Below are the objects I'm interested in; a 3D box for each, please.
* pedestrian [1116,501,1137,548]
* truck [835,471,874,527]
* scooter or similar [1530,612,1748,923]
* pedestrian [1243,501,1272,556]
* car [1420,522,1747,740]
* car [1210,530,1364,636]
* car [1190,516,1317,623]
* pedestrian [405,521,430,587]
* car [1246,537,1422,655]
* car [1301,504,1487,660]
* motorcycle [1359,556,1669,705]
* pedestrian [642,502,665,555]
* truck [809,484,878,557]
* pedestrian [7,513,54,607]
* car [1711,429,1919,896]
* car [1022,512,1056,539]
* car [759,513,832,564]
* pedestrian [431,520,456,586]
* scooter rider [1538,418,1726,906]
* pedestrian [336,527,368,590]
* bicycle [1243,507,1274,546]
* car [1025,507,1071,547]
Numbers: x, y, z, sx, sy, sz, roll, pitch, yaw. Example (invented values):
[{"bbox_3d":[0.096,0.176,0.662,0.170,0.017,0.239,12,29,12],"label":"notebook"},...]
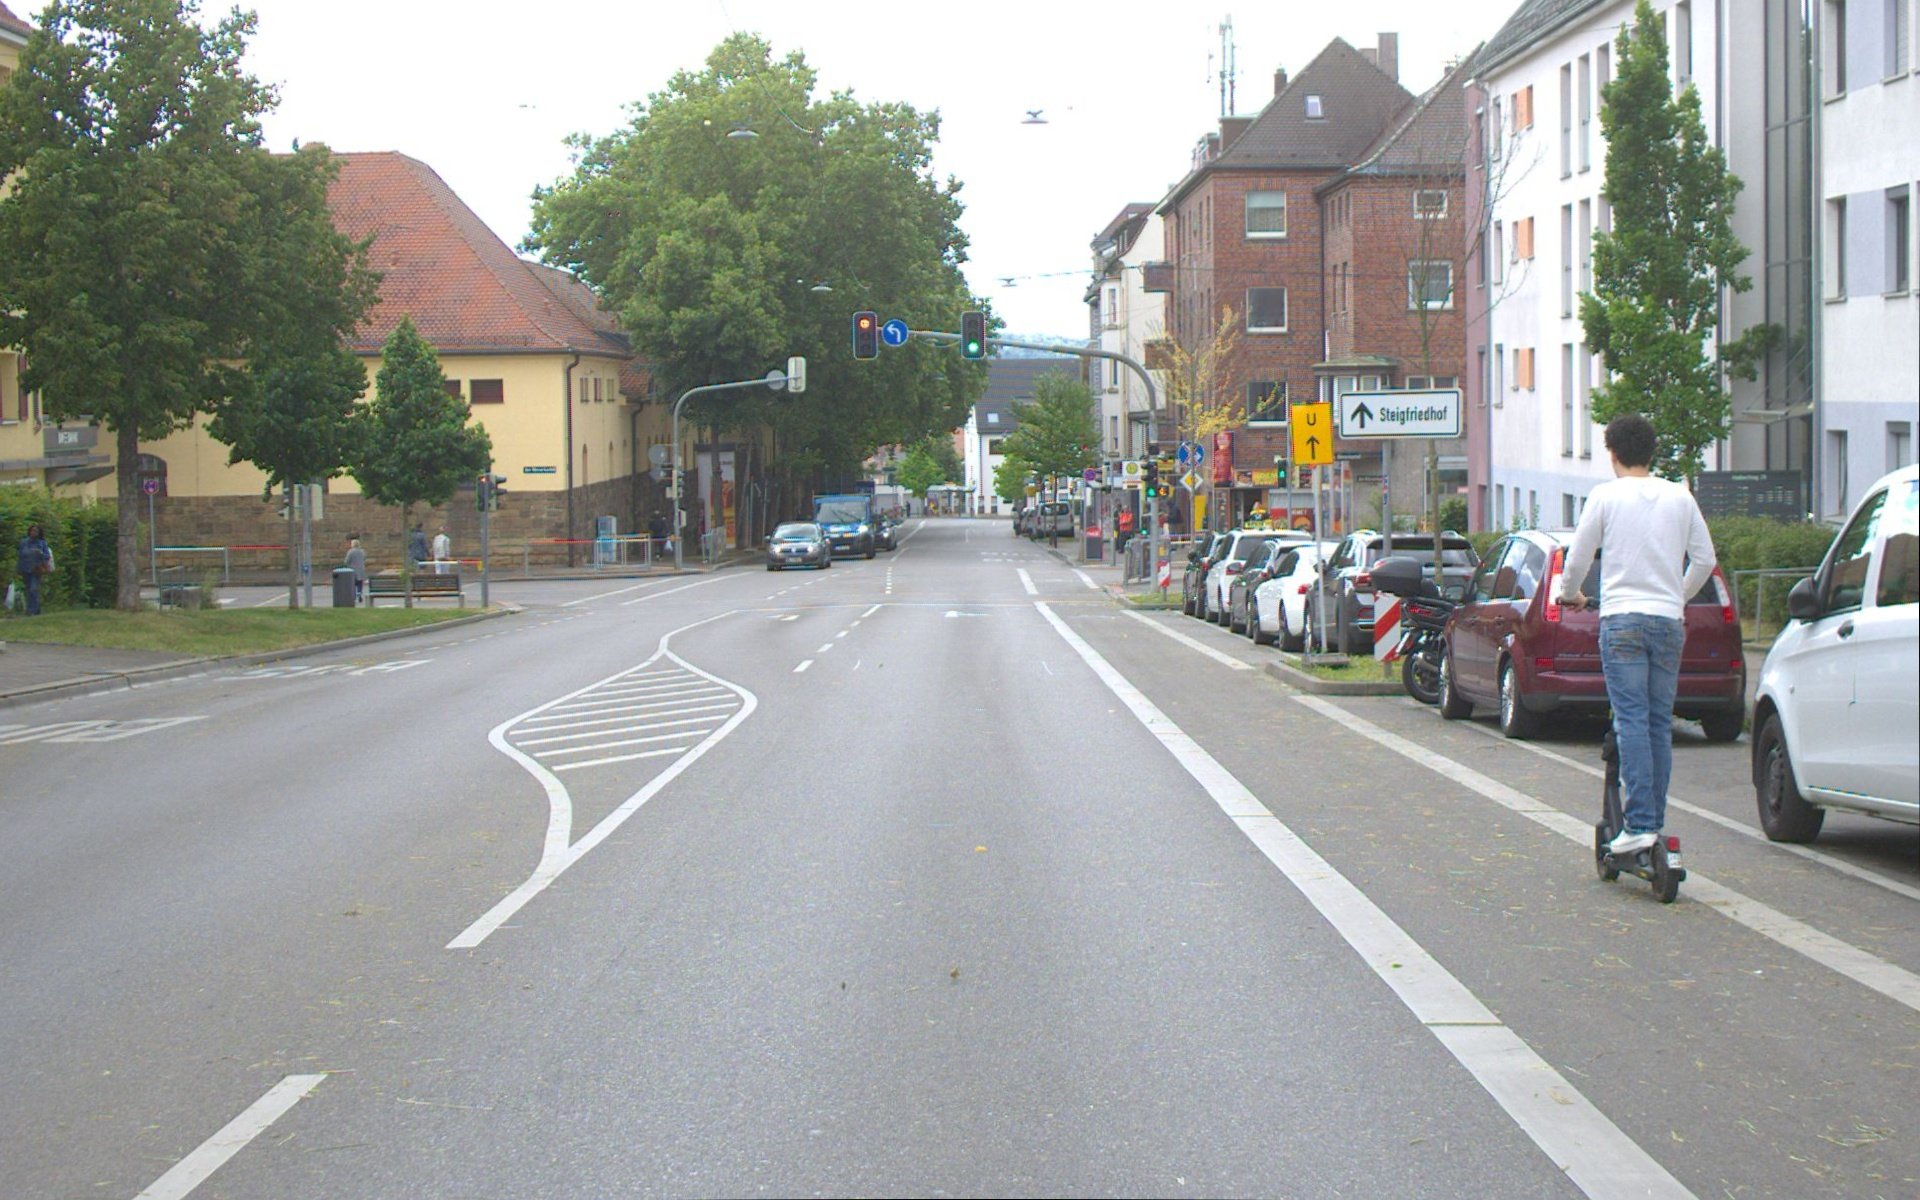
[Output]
[{"bbox_3d":[5.799,-2.618,119.747,0.565,1.631,0.680,1,2,20],"label":"pedestrian"},{"bbox_3d":[-6.400,-6.142,208.499,2.231,3.335,7.450,0,2,-1],"label":"truck"},{"bbox_3d":[2.850,0.664,14.605,0.490,1.159,2.075,0,2,-1],"label":"scooter or similar"},{"bbox_3d":[9.212,-2.221,106.401,0.788,1.650,0.772,-2,2,1],"label":"pedestrian"},{"bbox_3d":[4.796,0.179,26.998,1.680,1.539,4.339,0,2,-1],"label":"car"},{"bbox_3d":[4.925,-0.301,52.410,1.745,1.462,4.950,1,2,-1],"label":"car"},{"bbox_3d":[4.968,-0.555,58.690,1.659,1.710,4.552,1,2,-1],"label":"car"},{"bbox_3d":[-14.698,-1.243,93.140,0.564,1.771,0.842,0,2,0],"label":"pedestrian"},{"bbox_3d":[4.950,-0.092,46.011,1.730,1.408,4.500,1,2,-1],"label":"car"},{"bbox_3d":[5.075,-0.258,40.686,1.632,1.644,4.357,1,2,0],"label":"car"},{"bbox_3d":[4.880,0.261,30.355,2.597,1.274,0.753,0,2,-4],"label":"motorcycle"},{"bbox_3d":[-10.270,-2.395,115.159,0.674,1.759,0.725,0,1,2],"label":"pedestrian"},{"bbox_3d":[-4.091,-2.775,119.685,2.295,2.419,6.412,-1,2,-2],"label":"truck"},{"bbox_3d":[-16.045,-0.697,59.371,0.640,1.613,0.618,0,2,-1],"label":"pedestrian"},{"bbox_3d":[4.961,0.224,15.400,1.993,1.937,5.212,0,2,-1],"label":"car"},{"bbox_3d":[4.497,-4.259,195.904,1.668,1.542,3.757,0,2,-3],"label":"car"},{"bbox_3d":[-5.002,-1.899,105.230,1.756,1.467,4.306,-1,2,3],"label":"car"},{"bbox_3d":[-13.942,-1.276,92.723,0.564,1.771,0.717,0,2,0],"label":"pedestrian"},{"bbox_3d":[2.828,0.245,14.519,0.625,2.006,0.758,0,2,-1],"label":"scooter rider"},{"bbox_3d":[-15.330,-1.044,86.696,0.564,1.561,0.842,0,2,5],"label":"pedestrian"},{"bbox_3d":[9.223,-2.270,106.294,0.760,1.189,2.392,0,2,0],"label":"bicycle"},{"bbox_3d":[4.383,-3.668,172.182,1.993,1.929,4.920,0,2,-3],"label":"car"}]
